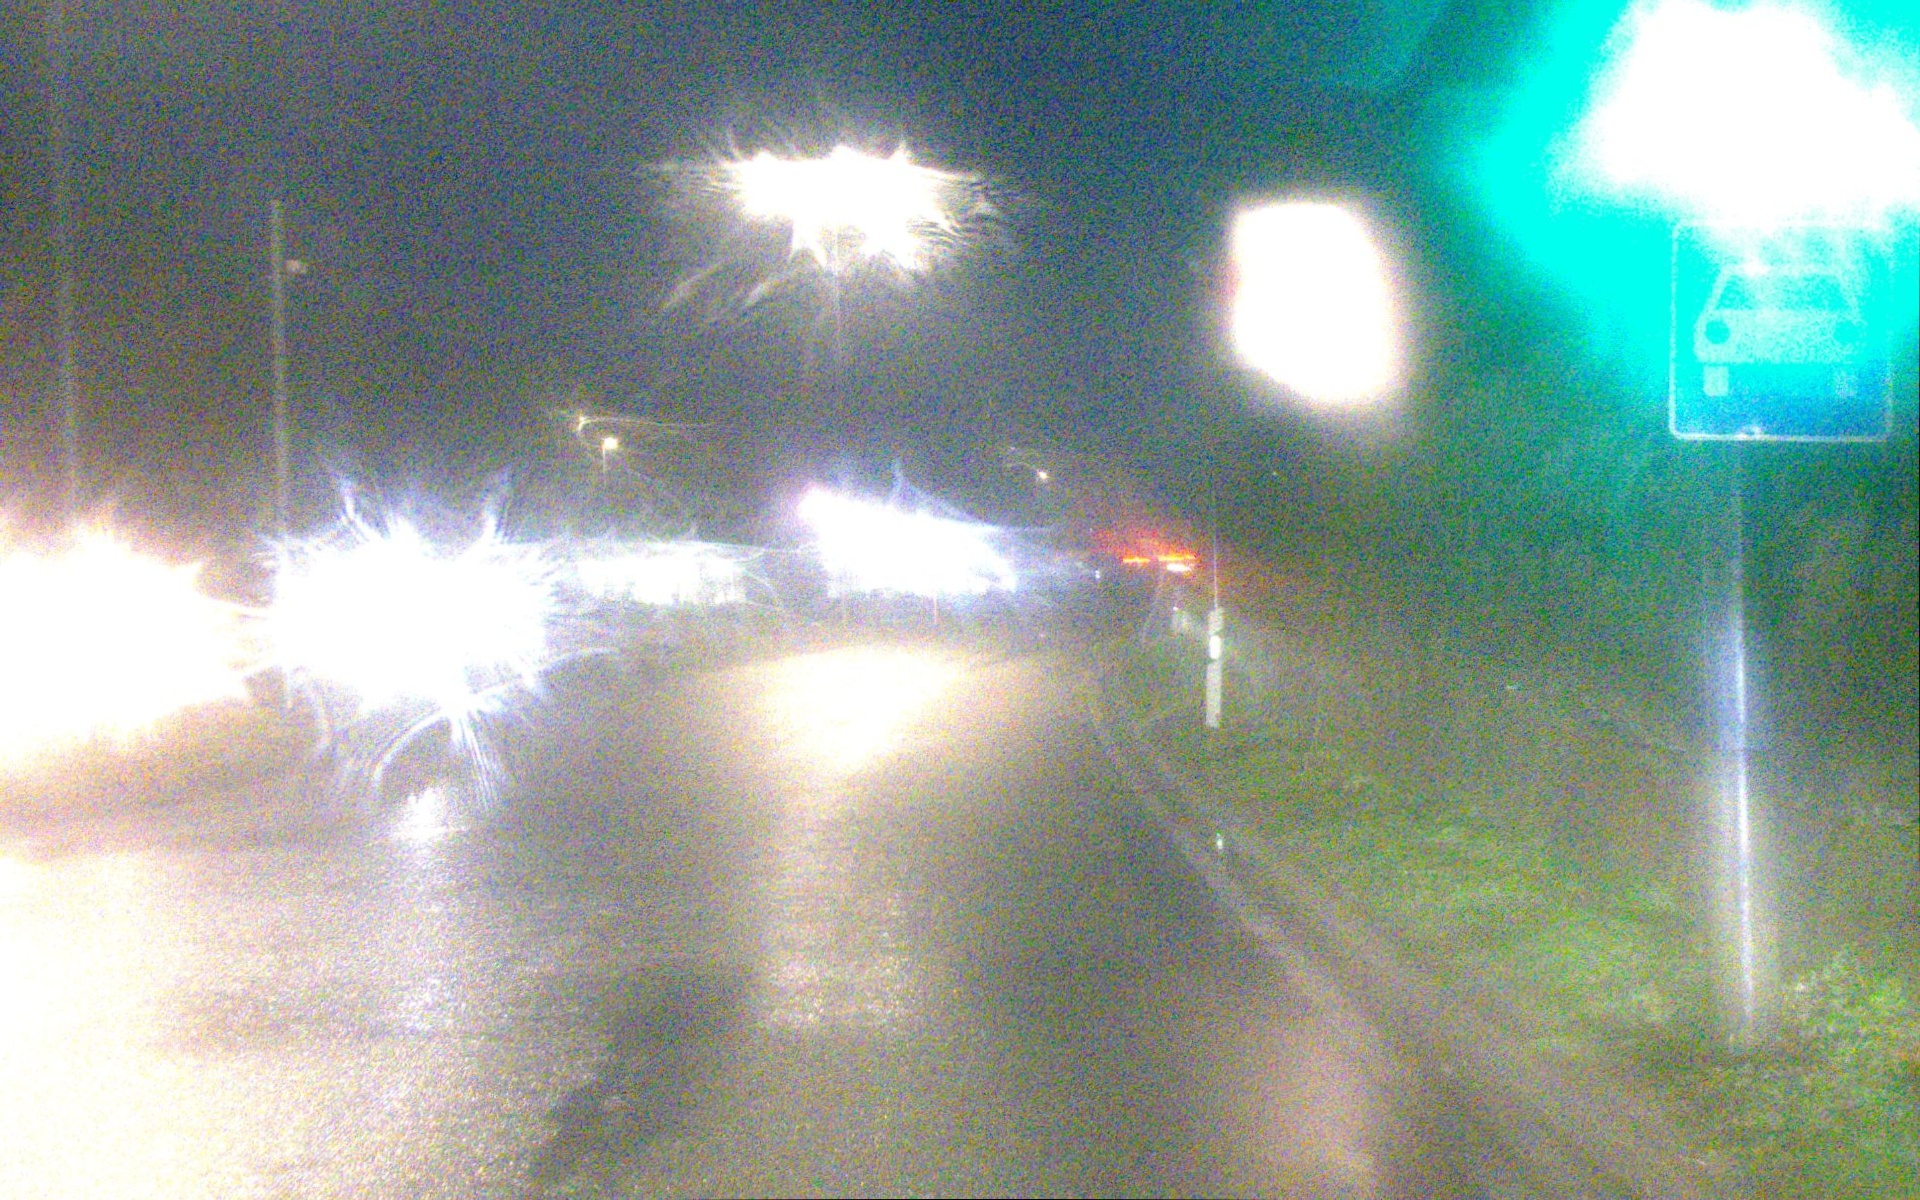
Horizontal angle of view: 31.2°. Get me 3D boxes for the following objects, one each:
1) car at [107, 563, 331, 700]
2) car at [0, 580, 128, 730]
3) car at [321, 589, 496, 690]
[{"bbox_3d":[-9.591,0.406,44.799,1.718,1.697,4.142,0,0,5],"label":"car"},{"bbox_3d":[-10.280,0.586,36.858,1.585,1.520,3.651,0,-1,5],"label":"car"},{"bbox_3d":[-8.697,0.631,54.571,1.708,1.529,4.599,0,-1,5],"label":"car"}]
